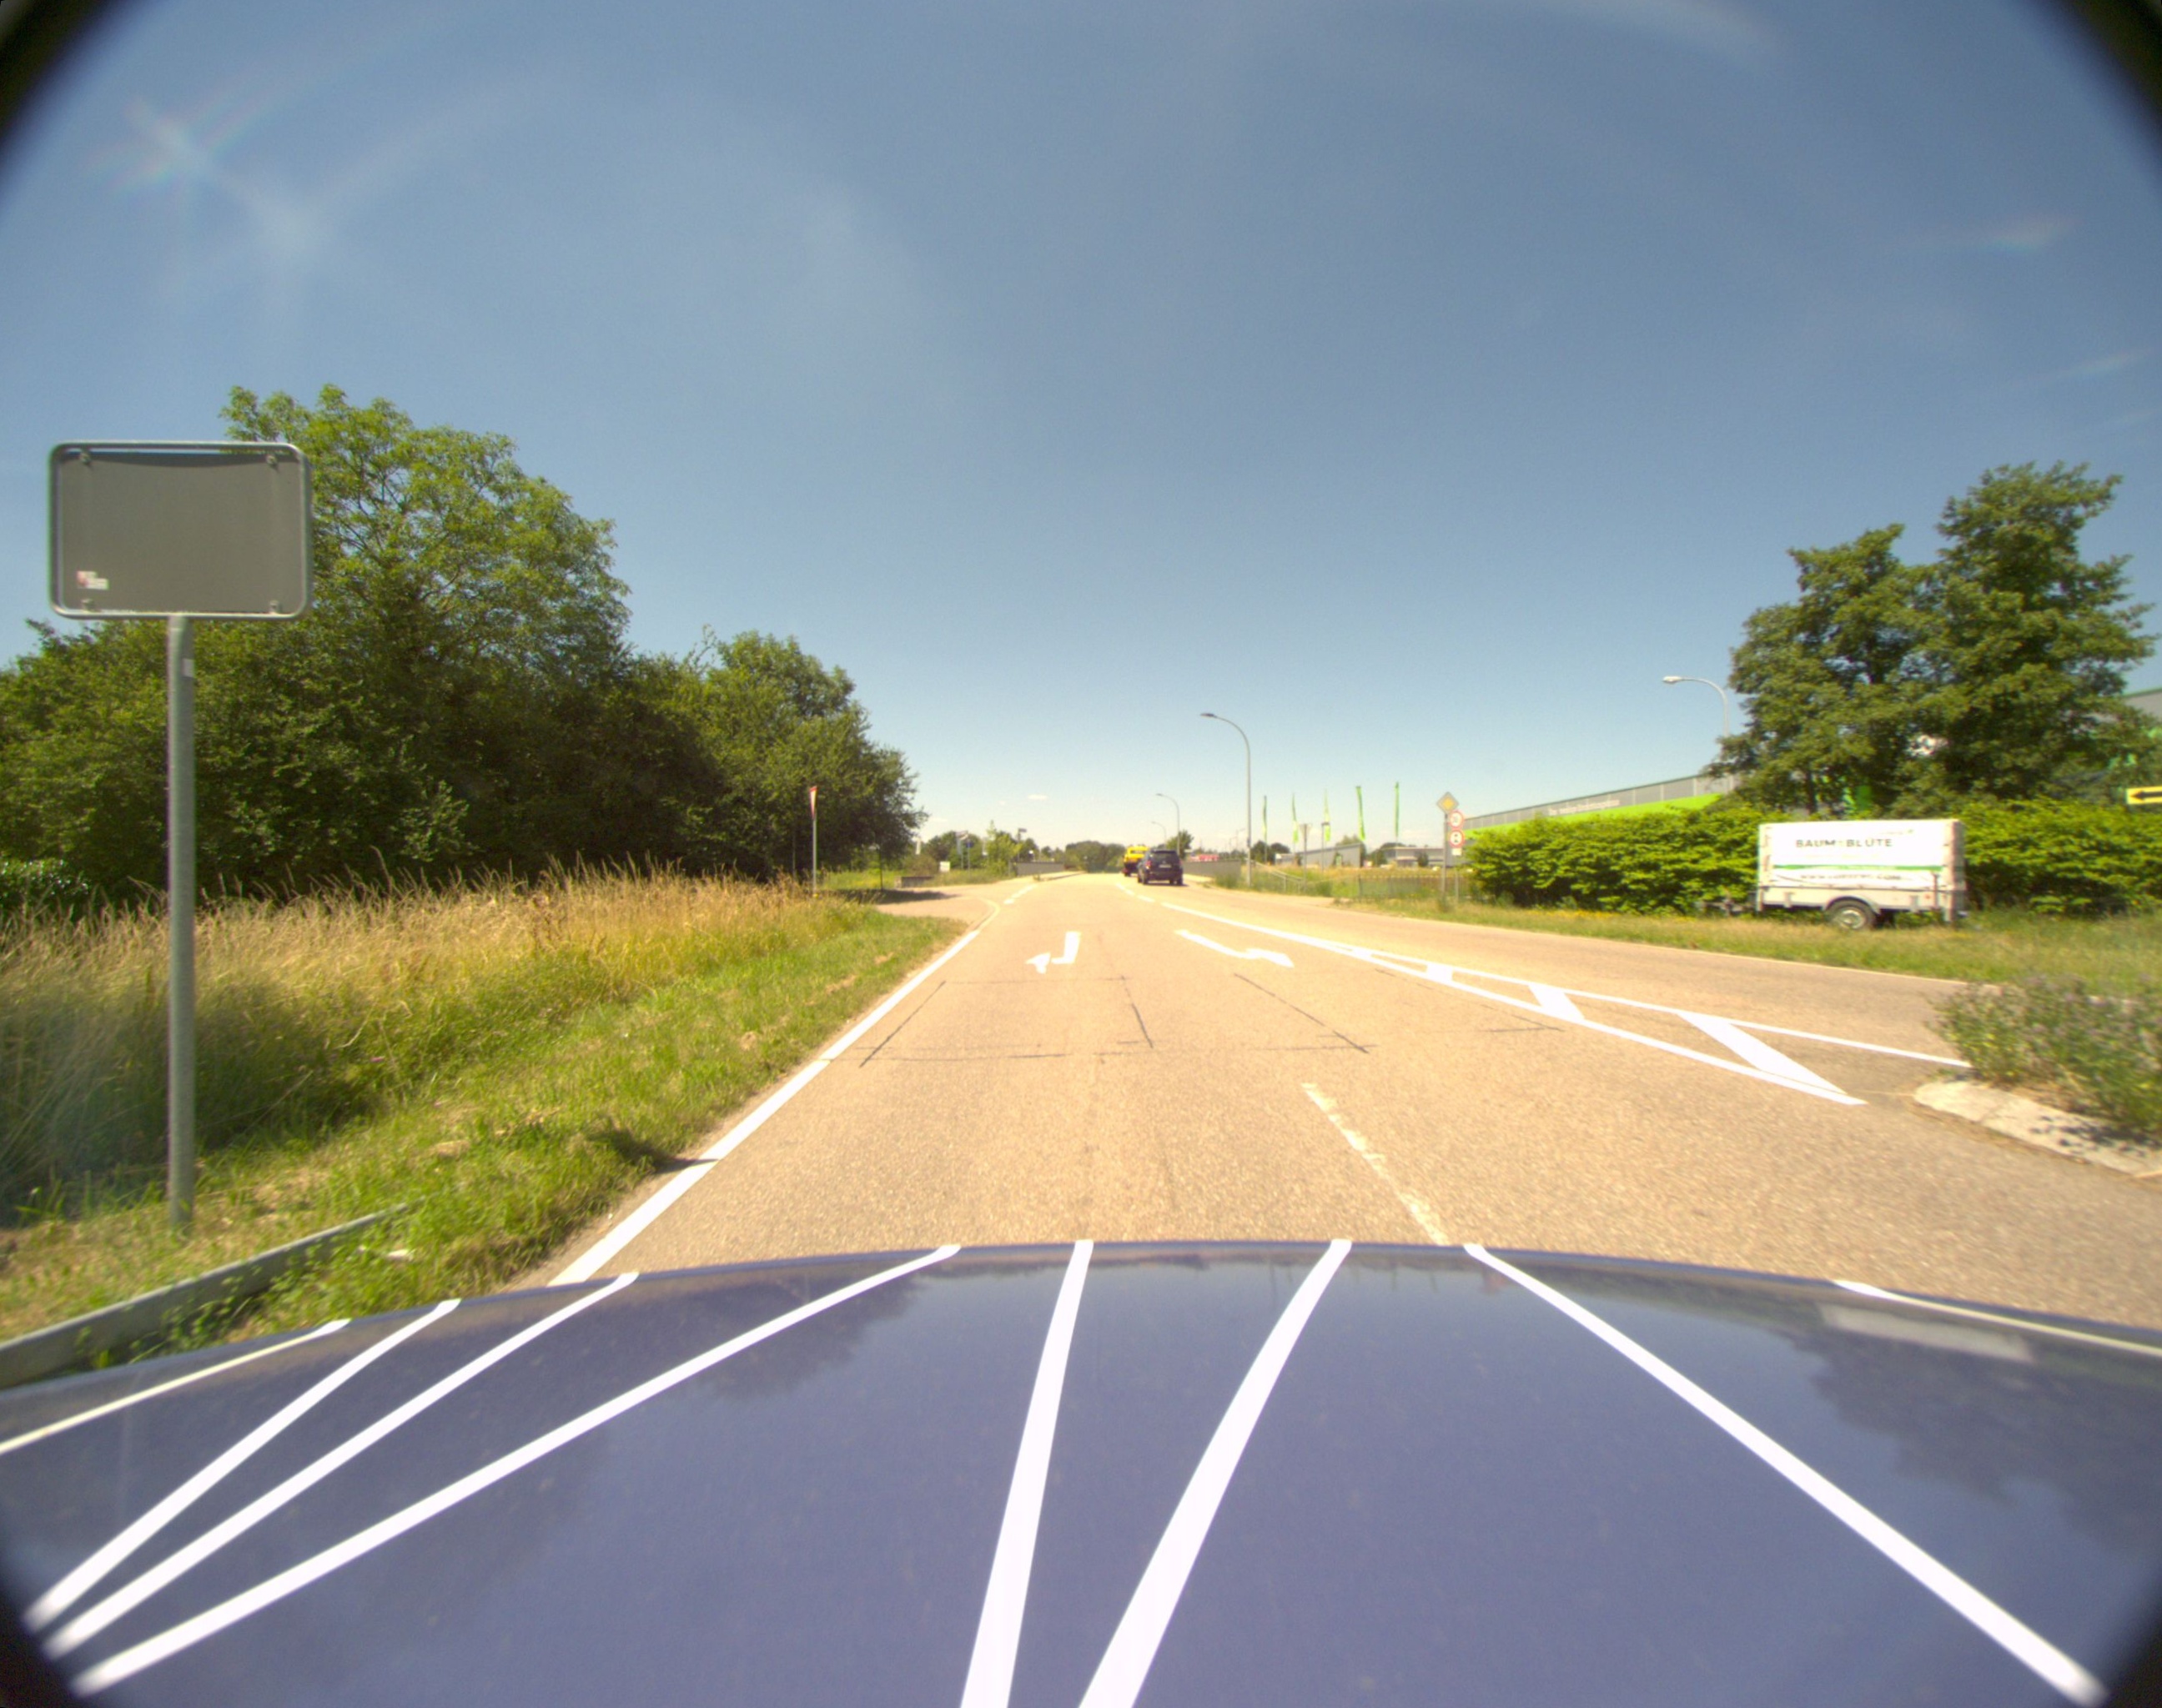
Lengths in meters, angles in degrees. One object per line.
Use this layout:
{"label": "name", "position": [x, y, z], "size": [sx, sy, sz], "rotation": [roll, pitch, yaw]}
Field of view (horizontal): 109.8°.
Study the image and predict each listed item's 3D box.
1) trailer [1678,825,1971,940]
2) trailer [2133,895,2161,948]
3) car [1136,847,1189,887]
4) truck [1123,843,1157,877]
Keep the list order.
{"label": "trailer", "position": [14.865, 0.498, 15.400], "size": [1.859, 2.002, 3.950], "rotation": [-1, 1, -34]}
{"label": "trailer", "position": [18.115, 1.066, 11.305], "size": [1.568, 0.734, 2.845], "rotation": [-1, 0, -34]}
{"label": "car", "position": [3.680, 0.558, 35.126], "size": [1.907, 1.692, 3.999], "rotation": [2, 1, -1]}
{"label": "truck", "position": [4.464, 0.422, 57.903], "size": [2.316, 2.324, 9.053], "rotation": [2, 0, 4]}
